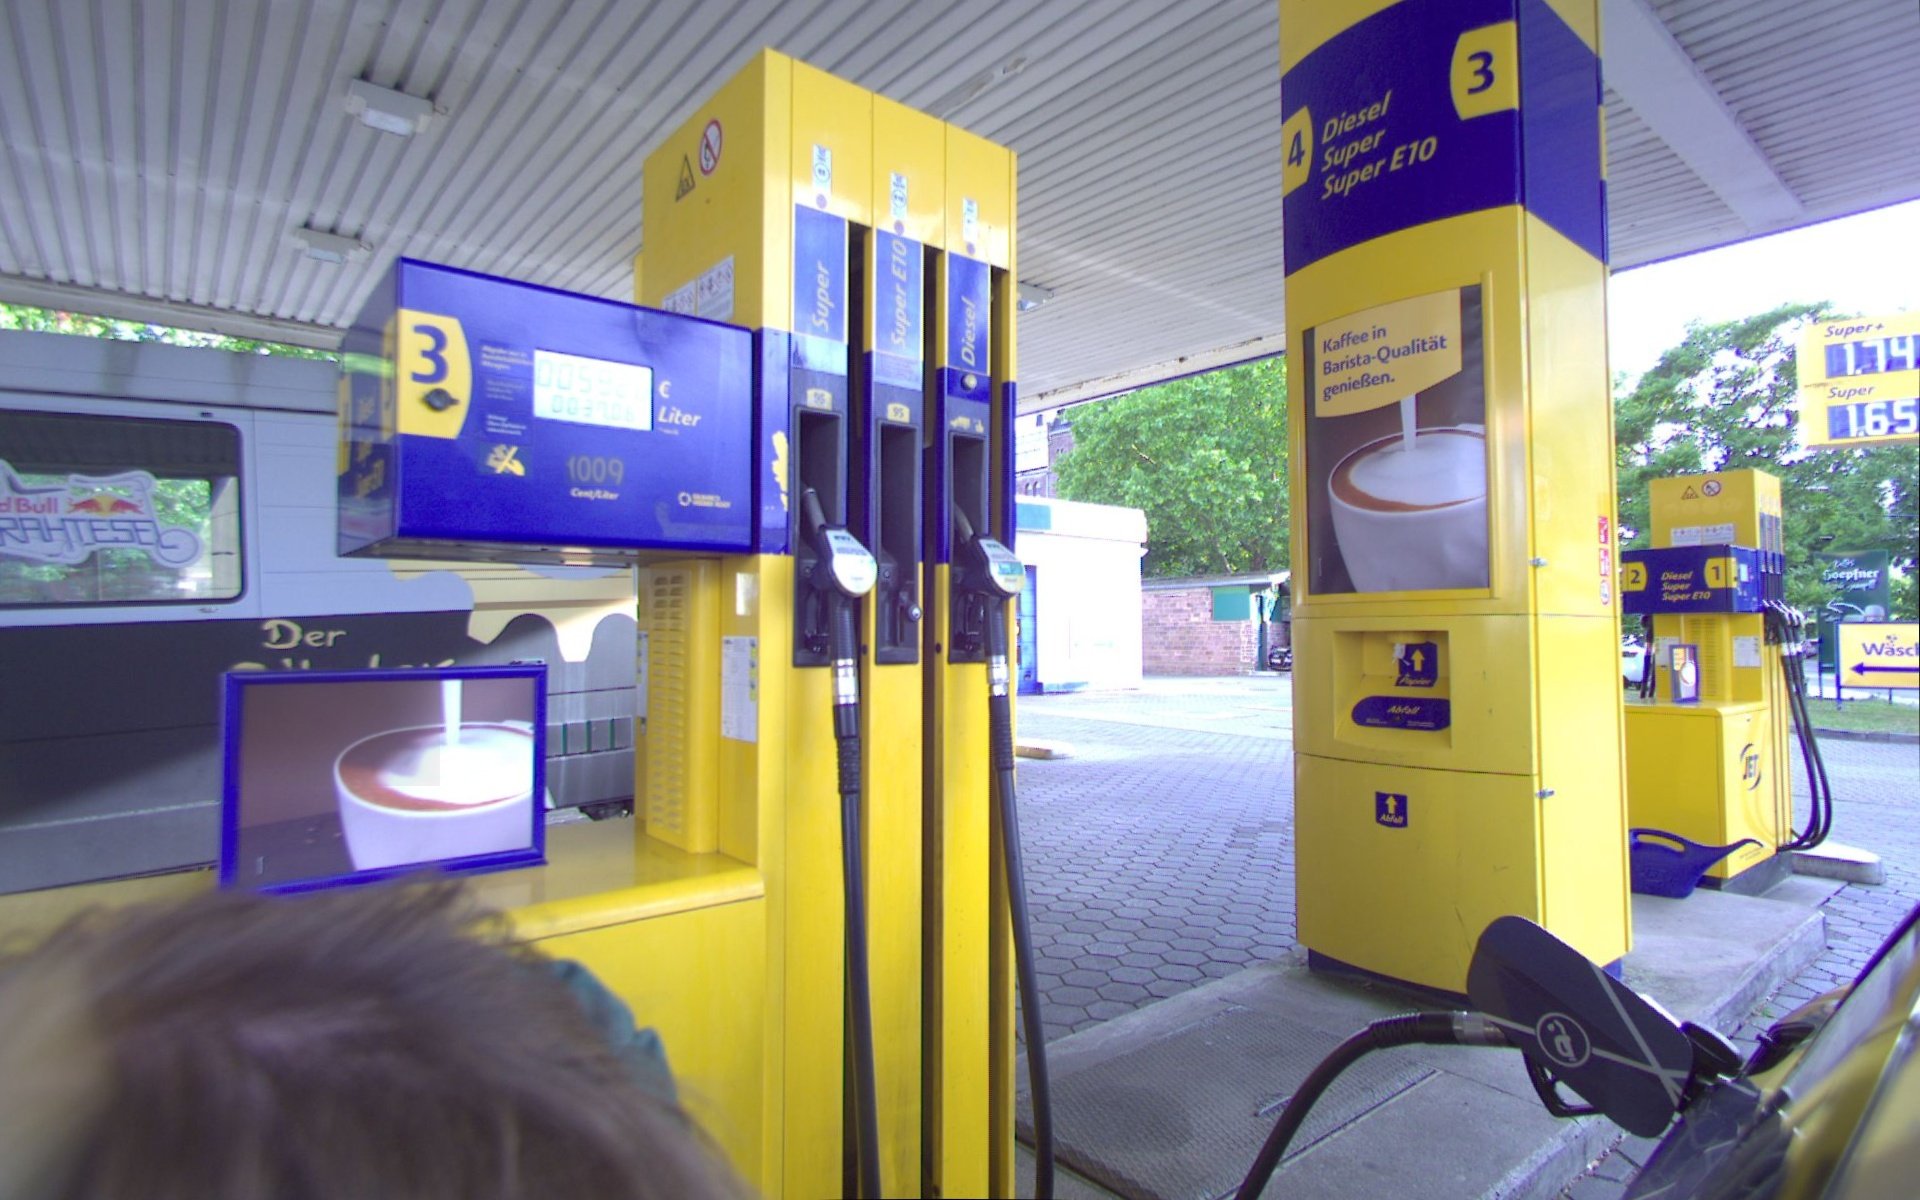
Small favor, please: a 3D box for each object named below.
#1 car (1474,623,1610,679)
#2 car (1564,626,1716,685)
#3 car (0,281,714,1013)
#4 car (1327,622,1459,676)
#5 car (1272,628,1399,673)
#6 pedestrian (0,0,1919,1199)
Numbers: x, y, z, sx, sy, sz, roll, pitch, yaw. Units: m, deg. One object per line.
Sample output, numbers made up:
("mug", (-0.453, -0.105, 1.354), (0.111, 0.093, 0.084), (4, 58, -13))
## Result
("car", (17.769, 1.572, 30.849), (4.112, 1.606, 1.826), (2, -3, -31))
("car", (18.252, 1.481, 27.133), (4.112, 1.478, 1.826), (2, -3, -31))
("car", (-4.099, 0.185, 4.853), (5.248, 2.760, 2.201), (0, -1, -39))
("car", (13.780, 1.562, 32.168), (4.112, 1.606, 1.826), (2, -3, -31))
("car", (12.640, 1.692, 34.031), (4.112, 1.453, 1.826), (2, -3, -31))
("pedestrian", (-0.332, 0.519, 0.564), (0.975, 1.750, 1.182), (-2, 1, -36))
